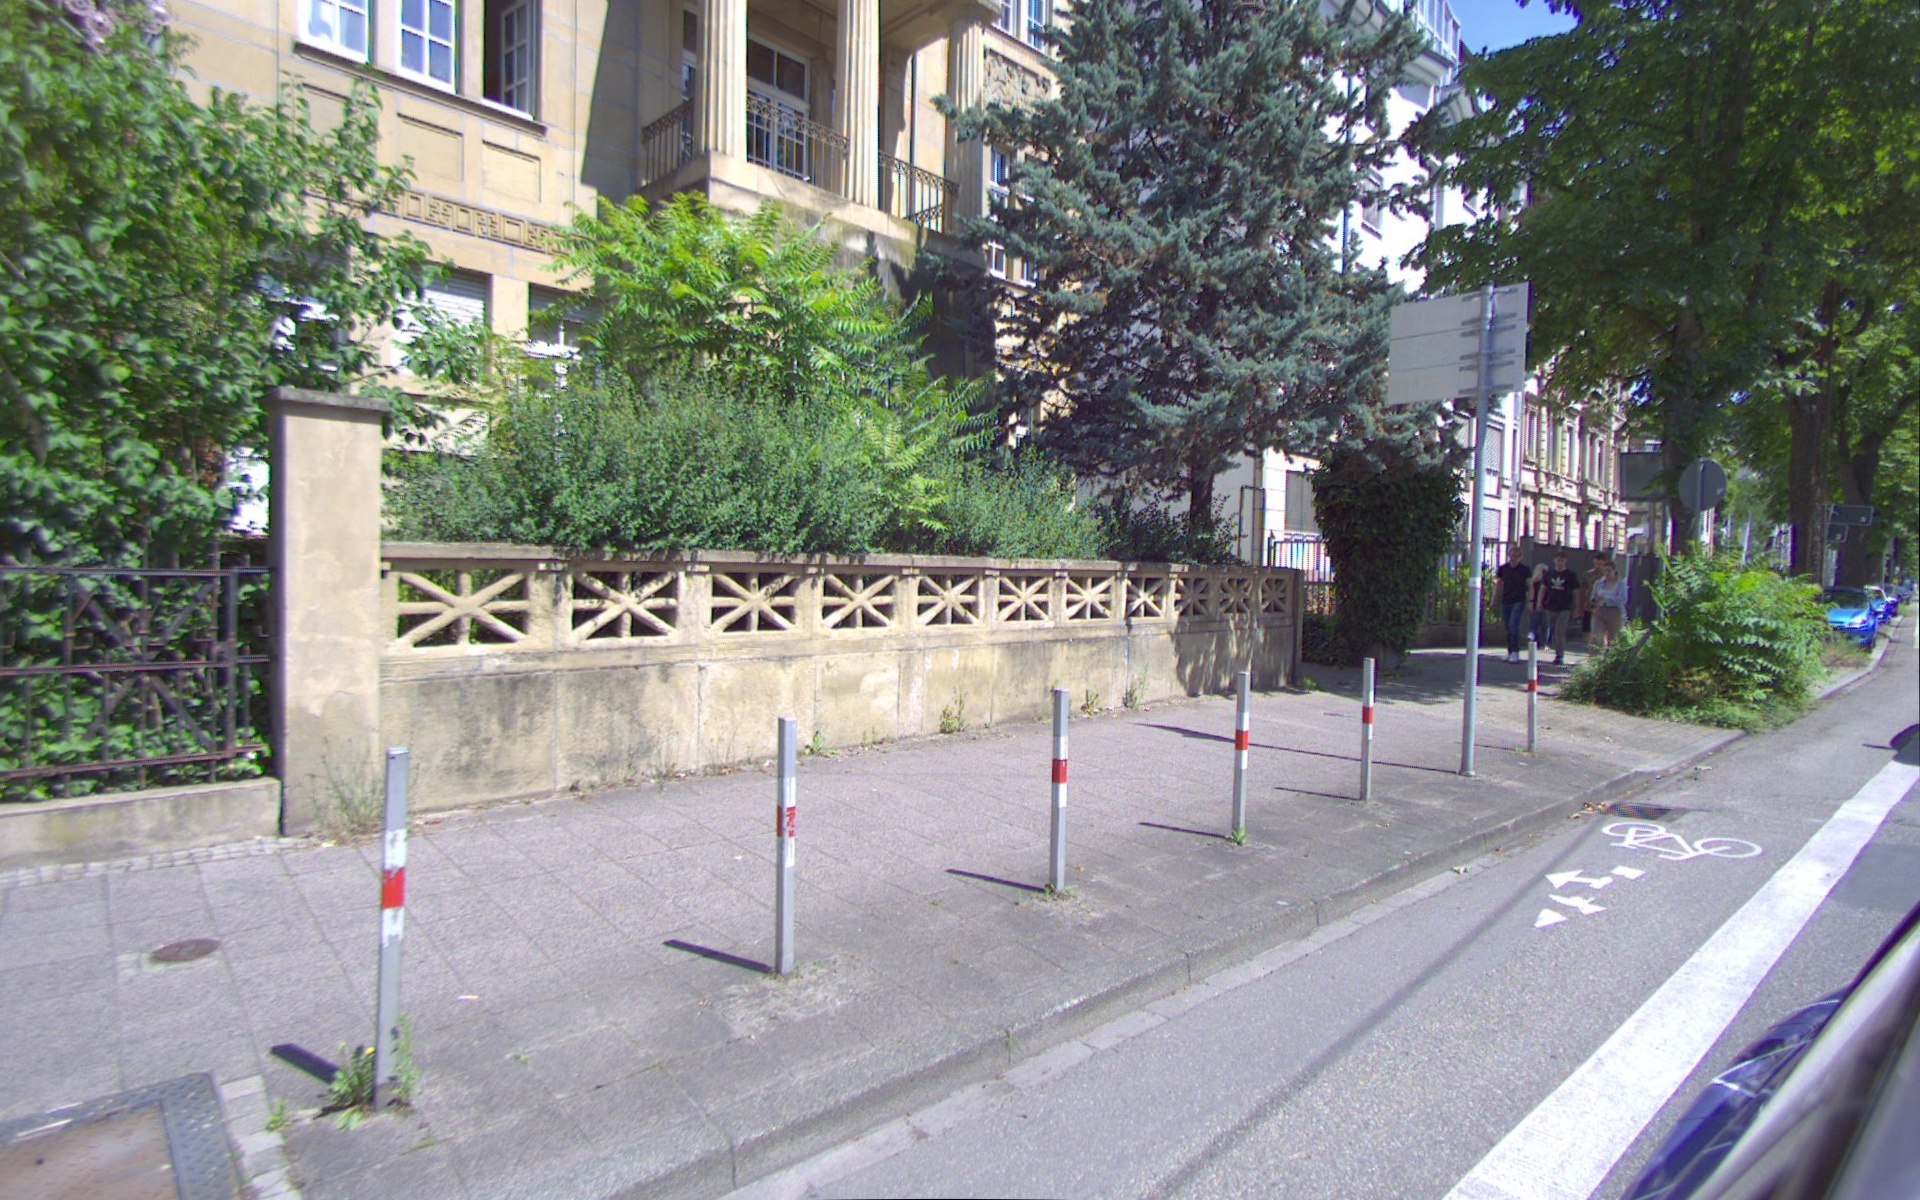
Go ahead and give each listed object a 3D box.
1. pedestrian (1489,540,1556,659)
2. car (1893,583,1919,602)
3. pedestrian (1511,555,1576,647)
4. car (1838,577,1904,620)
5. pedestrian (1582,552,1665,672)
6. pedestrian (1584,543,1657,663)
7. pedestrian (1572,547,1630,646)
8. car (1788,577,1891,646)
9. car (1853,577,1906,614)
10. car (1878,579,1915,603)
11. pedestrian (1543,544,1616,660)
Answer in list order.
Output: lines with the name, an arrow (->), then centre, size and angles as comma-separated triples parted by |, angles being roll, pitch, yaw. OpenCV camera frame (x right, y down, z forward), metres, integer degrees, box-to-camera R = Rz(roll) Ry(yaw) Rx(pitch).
pedestrian -> 8.993, -0.024, 16.187 | 0.661, 1.834, 0.961 | 3, 2, 44
car -> 74.956, -0.599, 80.007 | 1.623, 1.419, 3.937 | 6, 5, 44
pedestrian -> 10.923, -0.004, 18.940 | 0.856, 1.666, 0.824 | 3, 3, 42
car -> 33.663, -0.095, 37.372 | 1.691, 1.470, 3.420 | 3, 3, 43
pedestrian -> 9.737, 0.151, 14.846 | 0.958, 1.671, 0.767 | 0, 2, -44
pedestrian -> 10.280, 0.032, 15.748 | 0.931, 1.798, 0.705 | 0, 2, -44
pedestrian -> 12.289, -0.084, 19.402 | 0.685, 1.819, 1.067 | 3, 2, 44
car -> 20.978, 0.218, 24.105 | 1.677, 1.461, 3.663 | 3, 3, 43
car -> 46.231, -0.250, 50.858 | 1.731, 1.635, 4.019 | 6, 5, 44
car -> 61.471, -0.614, 66.406 | 1.623, 1.419, 3.762 | 6, 5, 44
pedestrian -> 9.951, 0.006, 16.244 | 0.787, 1.783, 1.036 | 3, 2, 42
